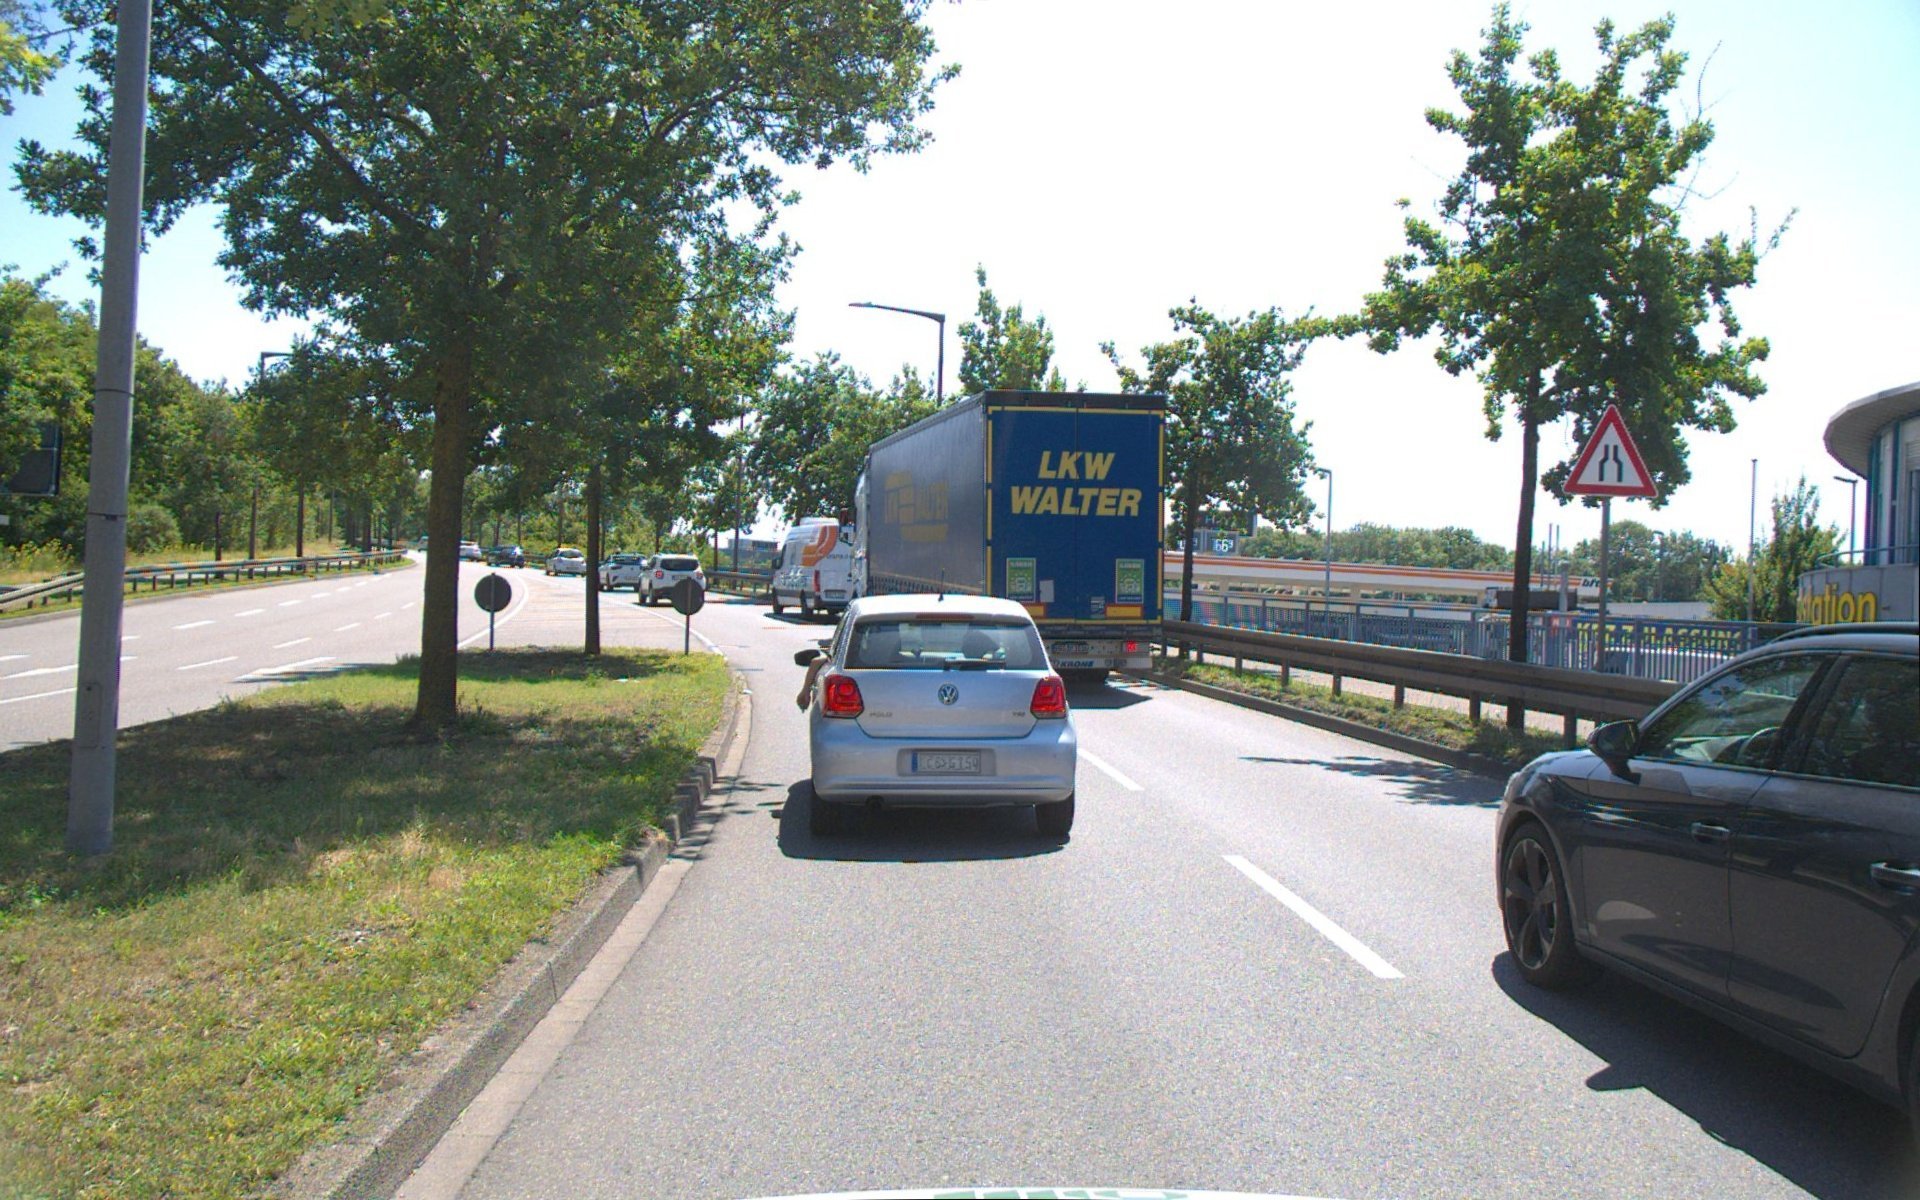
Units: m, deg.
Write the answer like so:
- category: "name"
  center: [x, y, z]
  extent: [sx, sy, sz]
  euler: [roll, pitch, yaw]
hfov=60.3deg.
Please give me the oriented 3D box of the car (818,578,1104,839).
- category: "car"
  center: [-0.138, 0.635, 11.260]
  extent: [1.614, 1.464, 3.533]
  euler: [2, 0, -5]

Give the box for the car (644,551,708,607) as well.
- category: "car"
  center: [-9.531, -0.663, 55.342]
  extent: [1.870, 1.748, 4.210]
  euler: [2, 0, -13]

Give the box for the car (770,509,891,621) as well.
- category: "car"
  center: [-3.858, -1.037, 47.927]
  extent: [2.141, 2.951, 6.330]
  euler: [2, 1, -17]

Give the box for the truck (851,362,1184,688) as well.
- category: "truck"
  center: [0.257, -1.068, 30.266]
  extent: [2.781, 4.271, 16.437]
  euler: [2, 0, -10]

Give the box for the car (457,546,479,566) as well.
- category: "car"
  center: [-35.708, -3.163, 120.041]
  extent: [1.434, 1.337, 3.620]
  euler: [2, 0, -17]

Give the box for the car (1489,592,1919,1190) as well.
- category: "car"
  center: [3.139, 0.744, 4.890]
  extent: [1.573, 1.481, 4.232]
  euler: [2, 0, -3]

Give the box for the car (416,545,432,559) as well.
- category: "car"
  center: [-50.398, -4.509, 155.543]
  extent: [1.301, 1.158, 2.980]
  euler: [2, 0, -18]

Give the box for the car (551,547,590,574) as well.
- category: "car"
  center: [-21.187, -2.133, 89.911]
  extent: [1.585, 1.383, 3.639]
  euler: [2, 0, -21]

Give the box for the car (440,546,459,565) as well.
- category: "car"
  center: [-40.810, -3.550, 132.137]
  extent: [1.395, 1.337, 3.321]
  euler: [2, 0, -17]

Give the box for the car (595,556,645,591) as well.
- category: "car"
  center: [-14.013, -1.102, 68.105]
  extent: [1.472, 1.383, 3.641]
  euler: [2, 0, -20]

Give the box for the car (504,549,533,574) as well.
- category: "car"
  center: [-28.597, -2.486, 107.085]
  extent: [1.639, 1.490, 3.564]
  euler: [2, 0, -17]

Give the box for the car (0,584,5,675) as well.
- category: "car"
  center: [-15.200, 0.404, 22.548]
  extent: [1.773, 1.357, 4.568]
  euler: [2, 0, -1]
